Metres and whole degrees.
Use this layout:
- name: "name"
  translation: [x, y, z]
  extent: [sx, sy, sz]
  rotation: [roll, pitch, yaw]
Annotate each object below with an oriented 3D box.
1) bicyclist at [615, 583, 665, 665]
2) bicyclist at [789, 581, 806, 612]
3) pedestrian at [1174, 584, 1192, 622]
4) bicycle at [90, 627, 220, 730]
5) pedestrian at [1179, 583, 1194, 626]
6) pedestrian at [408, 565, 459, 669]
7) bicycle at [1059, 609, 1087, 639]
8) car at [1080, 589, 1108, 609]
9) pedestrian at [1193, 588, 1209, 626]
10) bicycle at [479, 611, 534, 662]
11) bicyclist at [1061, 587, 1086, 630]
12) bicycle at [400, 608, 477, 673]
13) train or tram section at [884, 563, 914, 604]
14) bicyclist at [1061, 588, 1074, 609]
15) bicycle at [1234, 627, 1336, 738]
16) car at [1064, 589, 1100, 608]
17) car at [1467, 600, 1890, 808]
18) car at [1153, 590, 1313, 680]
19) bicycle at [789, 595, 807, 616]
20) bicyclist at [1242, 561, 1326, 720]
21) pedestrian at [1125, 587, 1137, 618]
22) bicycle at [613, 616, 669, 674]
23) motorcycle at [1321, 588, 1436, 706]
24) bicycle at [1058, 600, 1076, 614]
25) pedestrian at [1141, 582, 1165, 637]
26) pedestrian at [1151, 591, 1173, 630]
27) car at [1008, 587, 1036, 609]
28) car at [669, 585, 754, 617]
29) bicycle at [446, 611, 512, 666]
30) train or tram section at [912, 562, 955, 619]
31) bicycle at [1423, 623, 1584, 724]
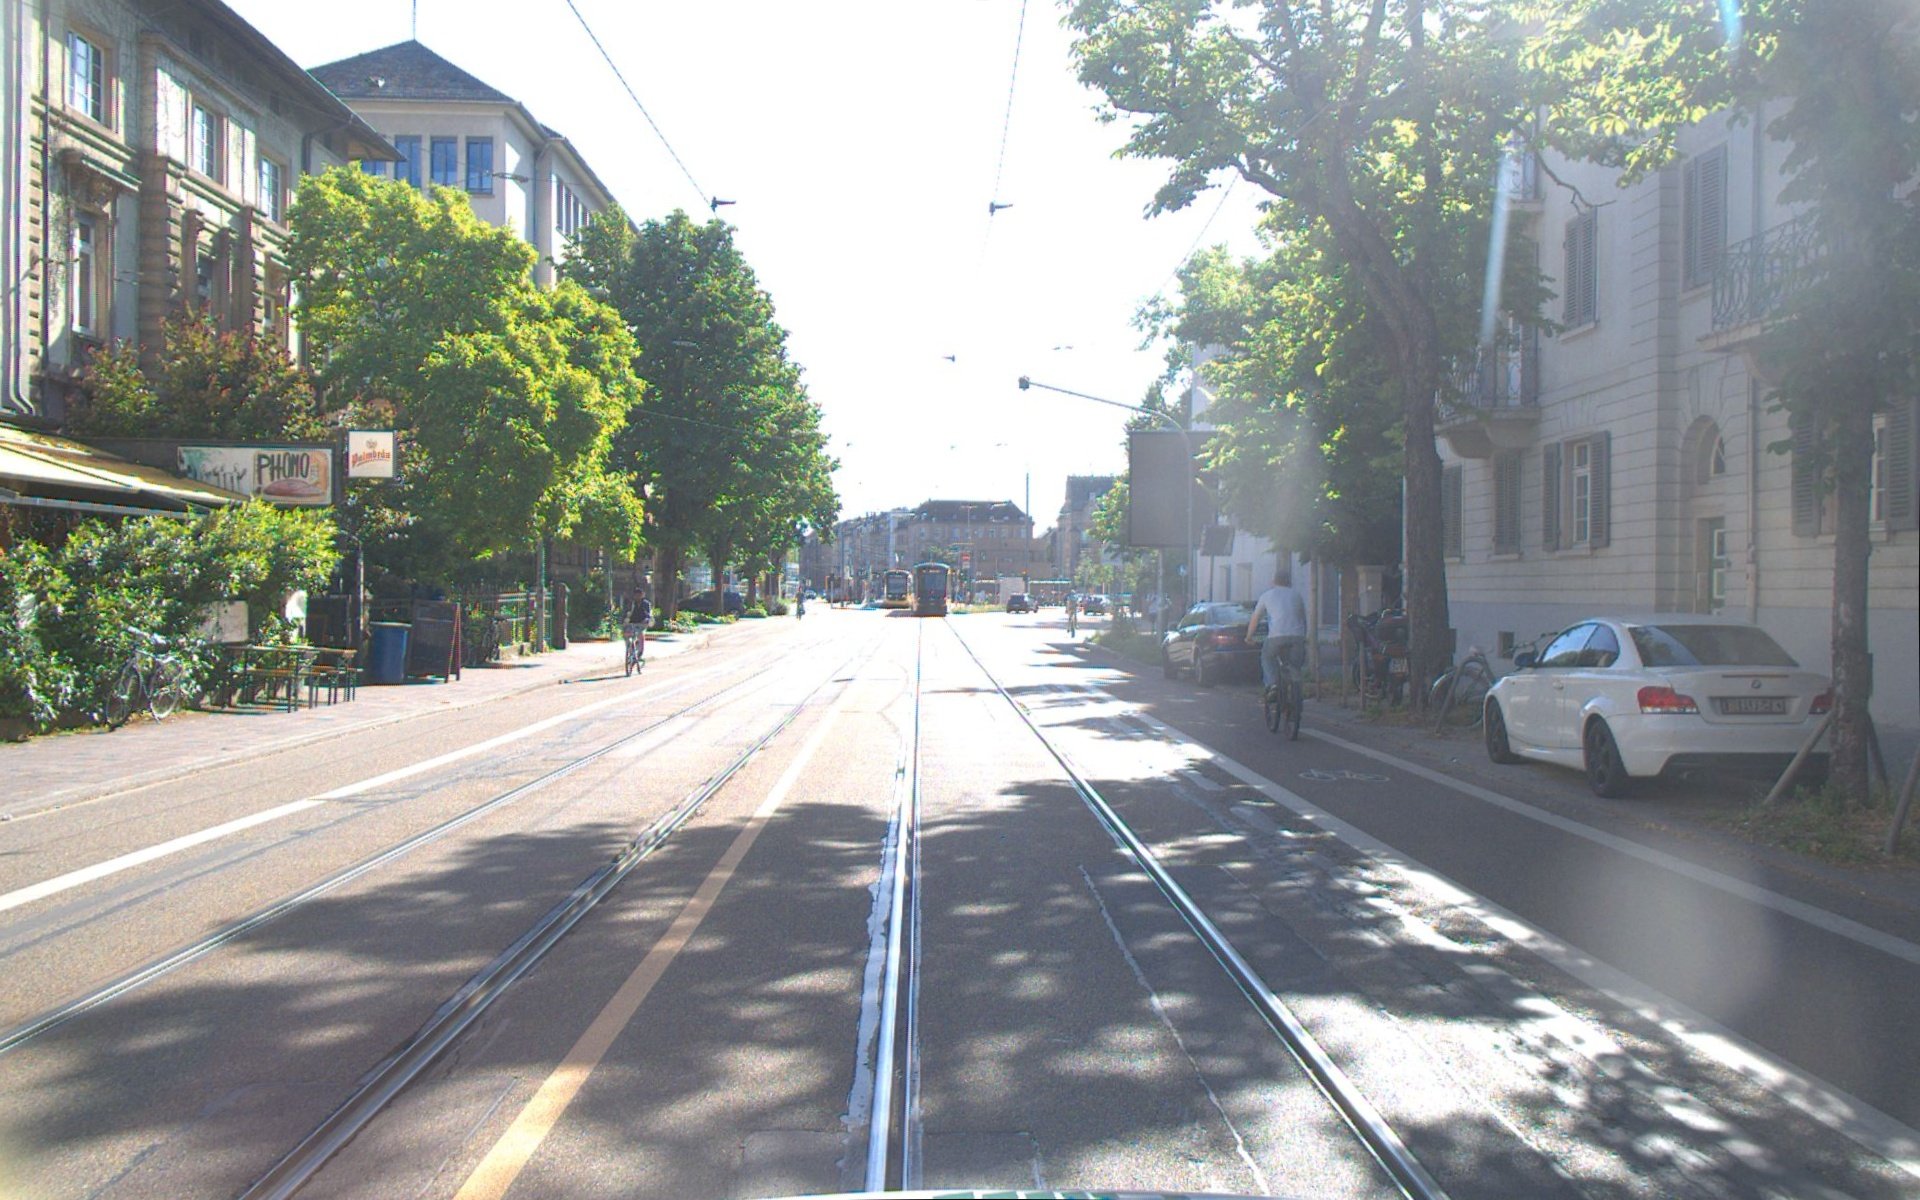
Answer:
- name: "bicyclist"
  translation: [-6.574, 0.485, 34.051]
  extent: [0.730, 1.627, 1.118]
  rotation: [-3, 0, 0]
- name: "bicyclist"
  translation: [-9.009, -0.184, 91.760]
  extent: [0.672, 1.673, 1.238]
  rotation: [-2, 0, 3]
- name: "pedestrian"
  translation: [11.036, 0.143, 81.827]
  extent: [0.633, 1.793, 0.957]
  rotation: [-4, 0, 13]
- name: "bicycle"
  translation: [-9.339, 0.890, 19.259]
  extent: [0.625, 1.077, 1.743]
  rotation: [3, 0, 0]
- name: "pedestrian"
  translation: [8.714, 0.174, 63.655]
  extent: [0.507, 1.628, 0.765]
  rotation: [0, 0, 2]
- name: "pedestrian"
  translation: [-9.515, 0.303, 29.916]
  extent: [0.563, 1.863, 0.690]
  rotation: [0, 0, 18]
- name: "bicycle"
  translation: [4.543, 0.946, 66.442]
  extent: [0.690, 1.124, 1.718]
  rotation: [2, 1, 18]
- name: "car"
  translation: [10.752, -0.066, 132.423]
  extent: [1.751, 1.537, 3.716]
  rotation: [2, 1, 11]
- name: "pedestrian"
  translation: [9.257, 0.268, 63.506]
  extent: [0.507, 1.429, 0.765]
  rotation: [0, 0, 2]
- name: "bicycle"
  translation: [-9.898, 0.785, 36.187]
  extent: [0.577, 1.064, 1.905]
  rotation: [2, 0, 2]
- name: "bicyclist"
  translation: [4.563, 0.329, 66.435]
  extent: [0.690, 1.704, 1.102]
  rotation: [2, 1, 18]
- name: "bicycle"
  translation: [-9.971, 0.748, 31.671]
  extent: [0.632, 1.163, 1.906]
  rotation: [2, 0, 7]
- name: "train or tram section"
  translation: [-5.823, -1.604, 157.523]
  extent: [2.687, 3.715, 13.781]
  rotation: [0, 1, -2]
- name: "bicyclist"
  translation: [8.714, -0.126, 133.911]
  extent: [0.691, 1.730, 0.987]
  rotation: [3, 1, 23]
- name: "bicycle"
  translation: [3.621, 0.892, 18.575]
  extent: [0.723, 1.113, 2.111]
  rotation: [2, 0, 1]
- name: "car"
  translation: [11.346, -0.146, 153.513]
  extent: [1.672, 1.672, 3.701]
  rotation: [2, 1, 33]
- name: "car"
  translation: [5.800, 0.742, 13.989]
  extent: [1.688, 1.406, 4.356]
  rotation: [-1, 1, 0]
- name: "car"
  translation: [4.922, 0.578, 30.519]
  extent: [1.786, 1.484, 4.814]
  rotation: [-1, 1, -5]
- name: "bicycle"
  translation: [-8.996, 0.280, 91.780]
  extent: [0.672, 1.144, 1.932]
  rotation: [-2, 0, 3]
- name: "bicyclist"
  translation: [3.632, 0.438, 18.605]
  extent: [0.723, 1.715, 0.972]
  rotation: [2, 0, 1]
- name: "pedestrian"
  translation: [11.131, 0.164, 107.677]
  extent: [0.624, 1.937, 1.134]
  rotation: [-2, 0, 0]
- name: "bicycle"
  translation: [-6.555, 0.901, 34.052]
  extent: [0.730, 1.100, 1.899]
  rotation: [-3, 0, 0]
- name: "motorcycle"
  translation: [5.754, 0.604, 22.927]
  extent: [0.895, 1.514, 2.679]
  rotation: [-2, 0, 0]
- name: "bicycle"
  translation: [8.694, 0.538, 133.942]
  extent: [0.691, 1.073, 2.313]
  rotation: [3, 2, 23]
- name: "pedestrian"
  translation: [6.747, 0.330, 57.808]
  extent: [0.670, 1.882, 0.955]
  rotation: [-1, 0, -3]
- name: "pedestrian"
  translation: [8.725, 0.441, 71.402]
  extent: [0.839, 1.669, 0.993]
  rotation: [0, -1, 1]
- name: "car"
  translation: [4.914, -0.159, 131.027]
  extent: [1.751, 1.632, 3.716]
  rotation: [2, 1, 10]
- name: "car"
  translation: [-12.837, 0.056, 85.393]
  extent: [3.943, 1.577, 1.860]
  rotation: [1, 0, -29]
- name: "bicycle"
  translation: [-9.935, 0.775, 34.227]
  extent: [0.577, 1.064, 1.906]
  rotation: [1, 0, 7]
- name: "train or tram section"
  translation: [-1.931, -0.720, 114.894]
  extent: [2.687, 3.715, 13.781]
  rotation: [0, 1, -2]
- name: "bicycle"
  translation: [6.141, 0.822, 18.742]
  extent: [1.586, 1.061, 0.685]
  rotation: [-1, 0, -1]
